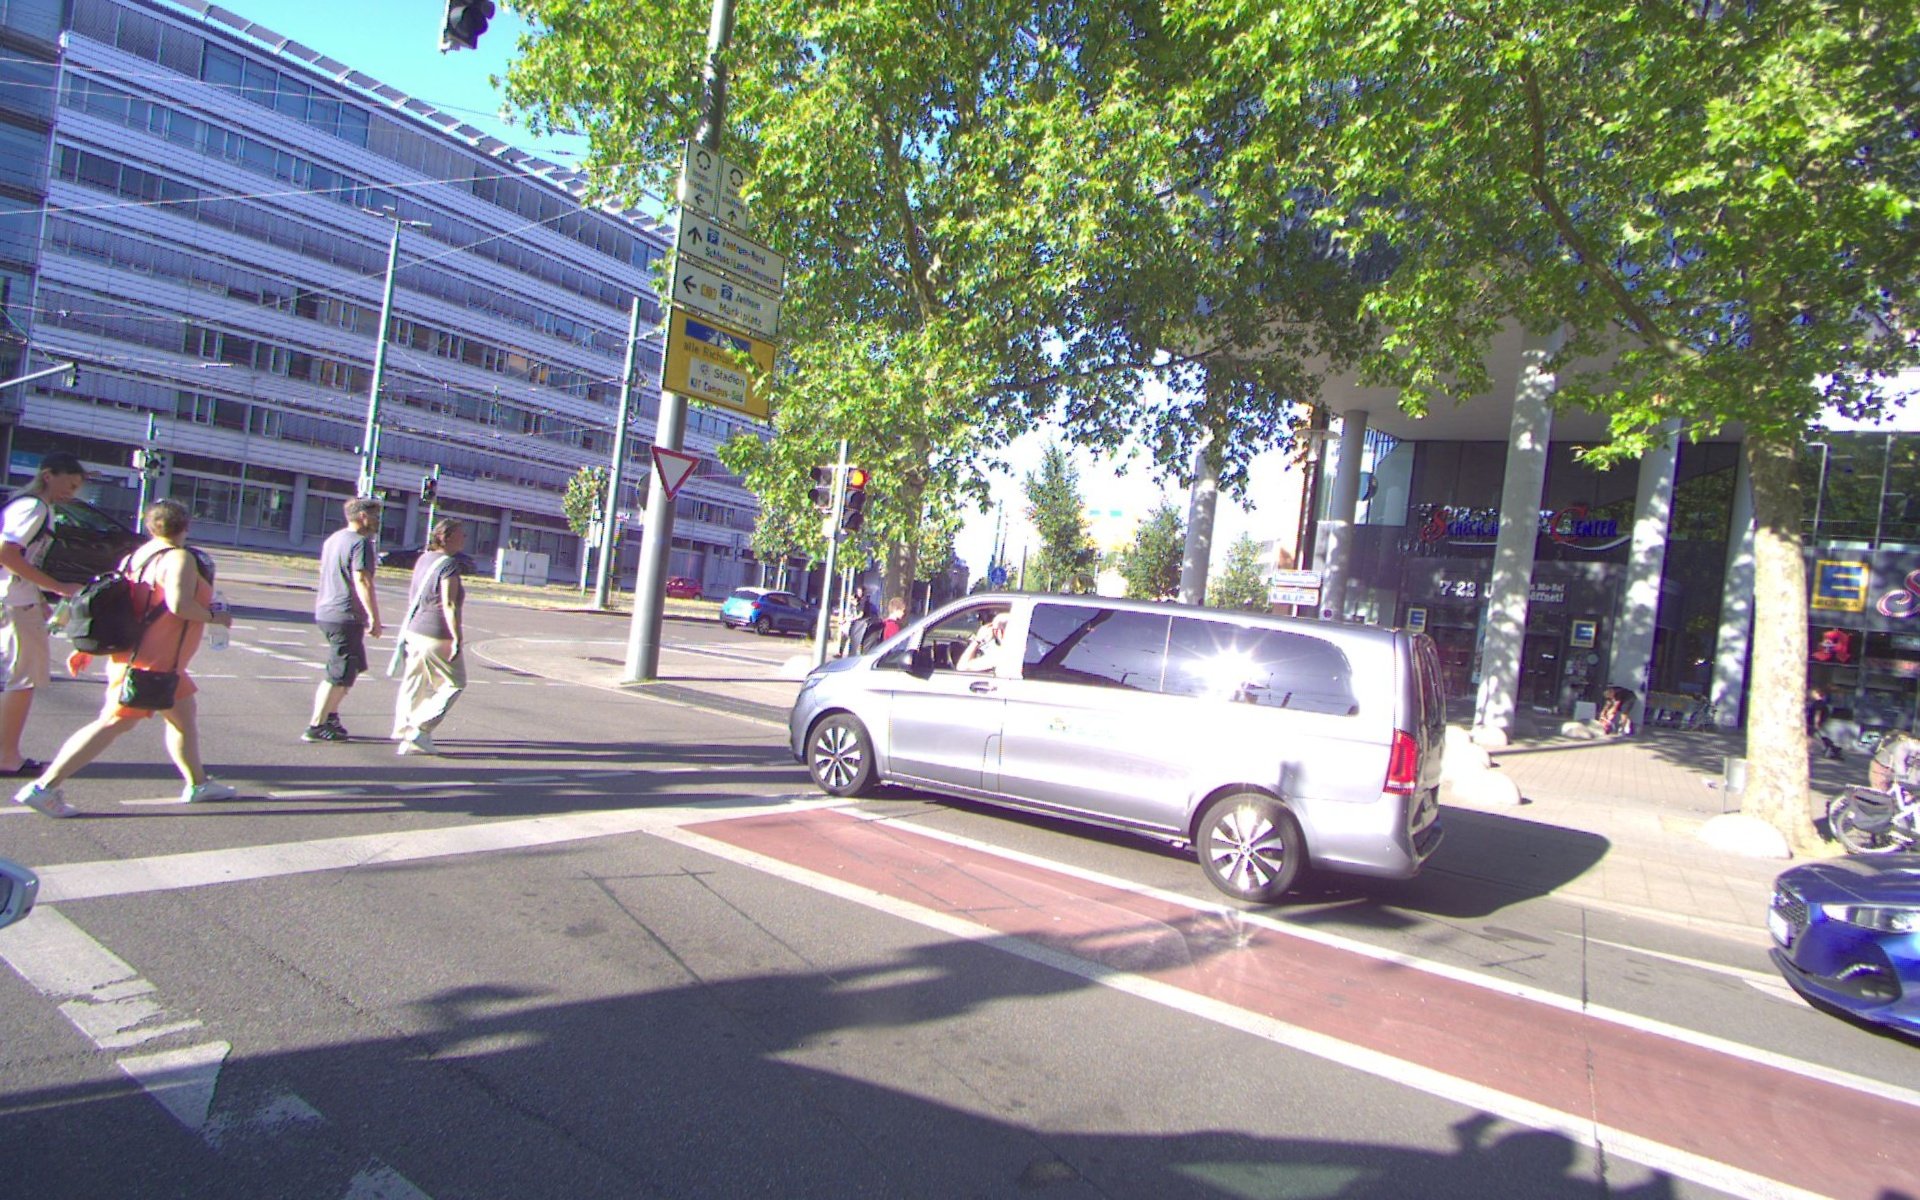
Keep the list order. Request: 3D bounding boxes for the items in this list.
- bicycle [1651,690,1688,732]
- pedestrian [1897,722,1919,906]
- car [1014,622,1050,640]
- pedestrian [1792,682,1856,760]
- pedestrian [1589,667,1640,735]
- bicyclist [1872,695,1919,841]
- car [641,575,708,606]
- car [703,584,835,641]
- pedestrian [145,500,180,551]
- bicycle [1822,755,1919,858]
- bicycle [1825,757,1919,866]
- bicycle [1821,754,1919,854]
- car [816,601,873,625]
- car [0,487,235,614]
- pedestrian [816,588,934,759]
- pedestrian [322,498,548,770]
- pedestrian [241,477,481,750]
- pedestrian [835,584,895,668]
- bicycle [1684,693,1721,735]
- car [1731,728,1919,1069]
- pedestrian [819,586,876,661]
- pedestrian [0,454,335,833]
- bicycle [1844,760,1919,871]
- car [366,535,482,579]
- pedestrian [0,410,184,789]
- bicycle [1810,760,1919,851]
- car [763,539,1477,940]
[{"bbox_3d":[21.935,3.418,31.078,0.709,1.142,1.912,7,0,39],"label":"bicycle"},{"bbox_3d":[8.494,1.704,8.234,0.794,1.808,0.874,7,1,25],"label":"pedestrian"},{"bbox_3d":[7.004,3.027,97.600,1.731,1.415,3.990,7,0,33],"label":"car"},{"bbox_3d":[22.563,3.157,26.277,0.990,1.867,0.844,6,1,-33],"label":"pedestrian"},{"bbox_3d":[17.450,2.679,26.847,0.952,1.662,0.864,7,1,32],"label":"pedestrian"},{"bbox_3d":[12.493,2.183,12.904,0.744,1.790,0.845,6,1,-31],"label":"bicyclist"},{"bbox_3d":[-17.942,-0.614,63.225,1.768,1.484,3.595,7,0,37],"label":"car"},{"bbox_3d":[-6.287,0.449,33.508,1.968,1.474,3.955,7,0,35],"label":"car"},{"bbox_3d":[-28.520,-2.656,35.977,0.549,1.701,0.719,7,-1,39],"label":"pedestrian"},{"bbox_3d":[11.257,2.500,12.032,0.393,1.038,1.305,6,1,-42],"label":"bicycle"},{"bbox_3d":[10.646,2.395,11.067,1.545,1.038,0.461,7,1,29],"label":"bicycle"},{"bbox_3d":[11.575,2.540,12.422,0.393,1.038,1.305,6,1,-42],"label":"bicycle"},{"bbox_3d":[-8.778,1.036,76.594,1.947,1.364,3.985,7,0,38],"label":"car"},{"bbox_3d":[-13.970,-0.823,15.187,1.794,1.602,4.491,7,-1,29],"label":"car"},{"bbox_3d":[-0.916,0.809,11.089,0.617,1.735,1.076,7,-1,28],"label":"pedestrian"},{"bbox_3d":[-3.894,0.263,7.530,0.744,1.827,1.075,7,-1,25],"label":"pedestrian"},{"bbox_3d":[-4.632,0.127,7.851,0.818,1.915,1.149,7,-1,25],"label":"pedestrian"},{"bbox_3d":[-2.243,0.616,23.806,0.855,1.841,0.845,7,-1,39],"label":"pedestrian"},{"bbox_3d":[22.601,3.470,30.612,0.709,1.142,1.912,7,0,39],"label":"bicycle"},{"bbox_3d":[6.419,1.715,4.713,4.147,1.482,1.767,7,0,32],"label":"car"},{"bbox_3d":[-2.794,0.584,24.986,0.855,1.701,0.845,7,-1,39],"label":"pedestrian"},{"bbox_3d":[-4.109,0.220,5.213,0.744,1.701,1.076,7,-1,25],"label":"pedestrian"},{"bbox_3d":[10.402,2.351,10.548,1.545,1.038,0.461,7,1,29],"label":"bicycle"},{"bbox_3d":[-24.338,-1.925,45.771,1.768,1.409,4.241,7,0,36],"label":"car"},{"bbox_3d":[-5.071,-0.009,5.364,0.725,1.893,1.077,7,-1,25],"label":"pedestrian"},{"bbox_3d":[12.430,2.731,12.909,0.661,0.945,2.167,7,0,-30],"label":"bicycle"},{"bbox_3d":[1.101,0.823,8.004,5.053,1.988,1.997,7,-2,32],"label":"car"}]
